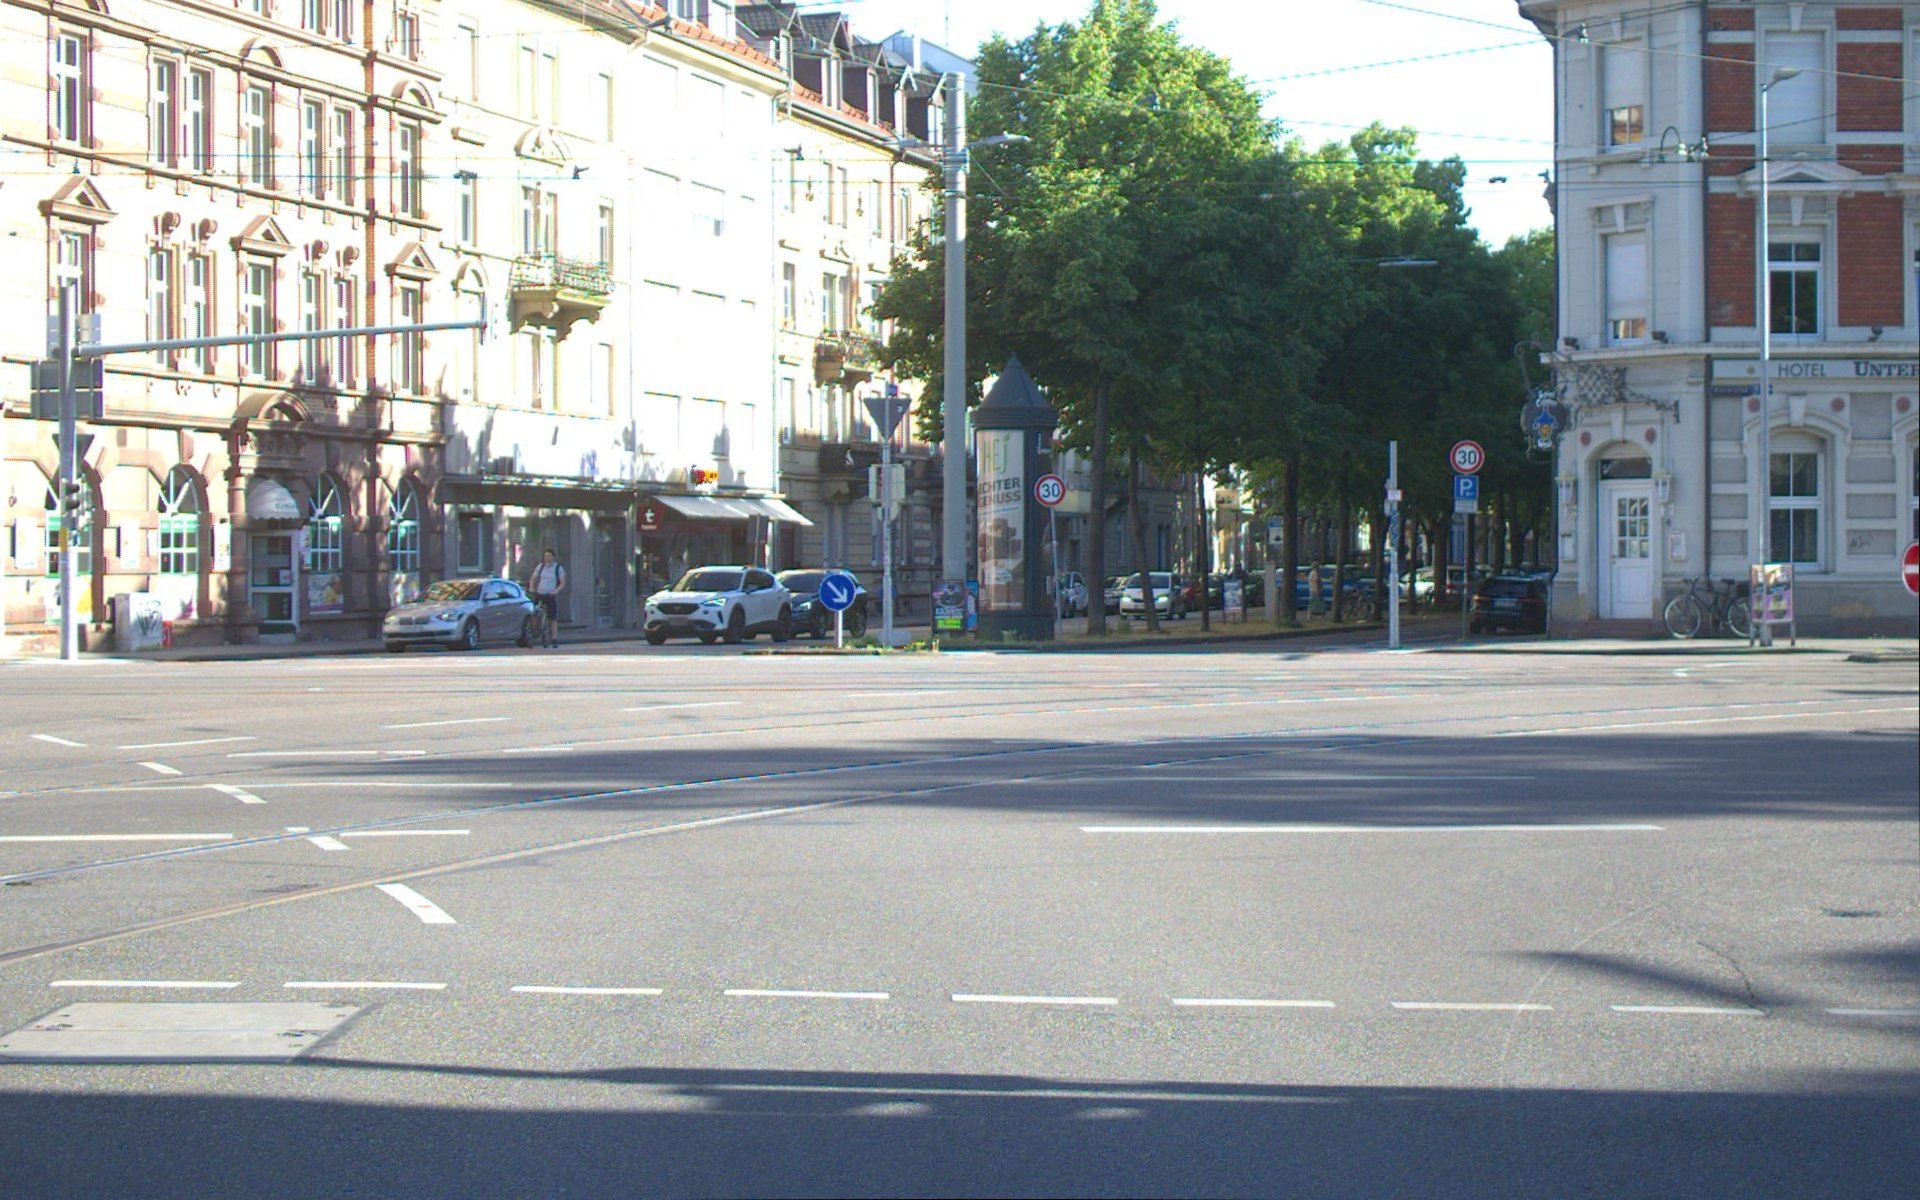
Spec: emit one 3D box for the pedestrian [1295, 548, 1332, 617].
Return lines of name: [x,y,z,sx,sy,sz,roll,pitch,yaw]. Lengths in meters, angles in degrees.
pedestrian: [10.497,-0.522,102.106,0.961,2.007,0.918,1,0,1]

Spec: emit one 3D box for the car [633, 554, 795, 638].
car: [-4.773,-0.092,67.266,1.804,1.579,4.156,1,1,17]

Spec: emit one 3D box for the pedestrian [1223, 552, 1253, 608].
pedestrian: [10.054,-0.721,124.380,0.944,2.007,0.826,1,0,14]

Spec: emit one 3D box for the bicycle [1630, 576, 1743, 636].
bicycle: [12.074,0.099,57.126,1.804,0.959,0.603,1,0,14]

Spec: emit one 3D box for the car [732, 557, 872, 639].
car: [-3.356,-0.063,73.621,1.826,1.679,3.872,1,1,16]

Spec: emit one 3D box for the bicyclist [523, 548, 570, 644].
bicyclist: [-7.829,-0.087,65.166,0.565,1.797,0.913,1,0,15]

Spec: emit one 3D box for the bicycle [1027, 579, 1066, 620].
bicycle: [2.617,-0.020,103.505,0.674,1.203,1.820,1,1,18]

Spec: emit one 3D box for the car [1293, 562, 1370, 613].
car: [12.629,-0.427,116.617,1.995,1.678,3.997,1,1,15]

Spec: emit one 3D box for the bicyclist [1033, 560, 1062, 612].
bicyclist: [2.622,-0.420,103.504,0.674,1.563,0.747,1,0,18]

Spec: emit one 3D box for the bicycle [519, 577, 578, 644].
bicycle: [-7.808,0.189,65.229,0.565,1.250,1.556,1,1,14]

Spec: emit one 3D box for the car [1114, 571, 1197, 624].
car: [6.084,-0.090,106.565,1.804,1.570,3.888,1,1,15]

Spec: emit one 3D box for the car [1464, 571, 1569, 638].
car: [13.375,0.100,82.491,1.758,1.550,3.996,1,1,20]

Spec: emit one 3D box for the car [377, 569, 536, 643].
car: [-9.783,0.102,67.012,1.661,1.369,3.889,1,1,15]
